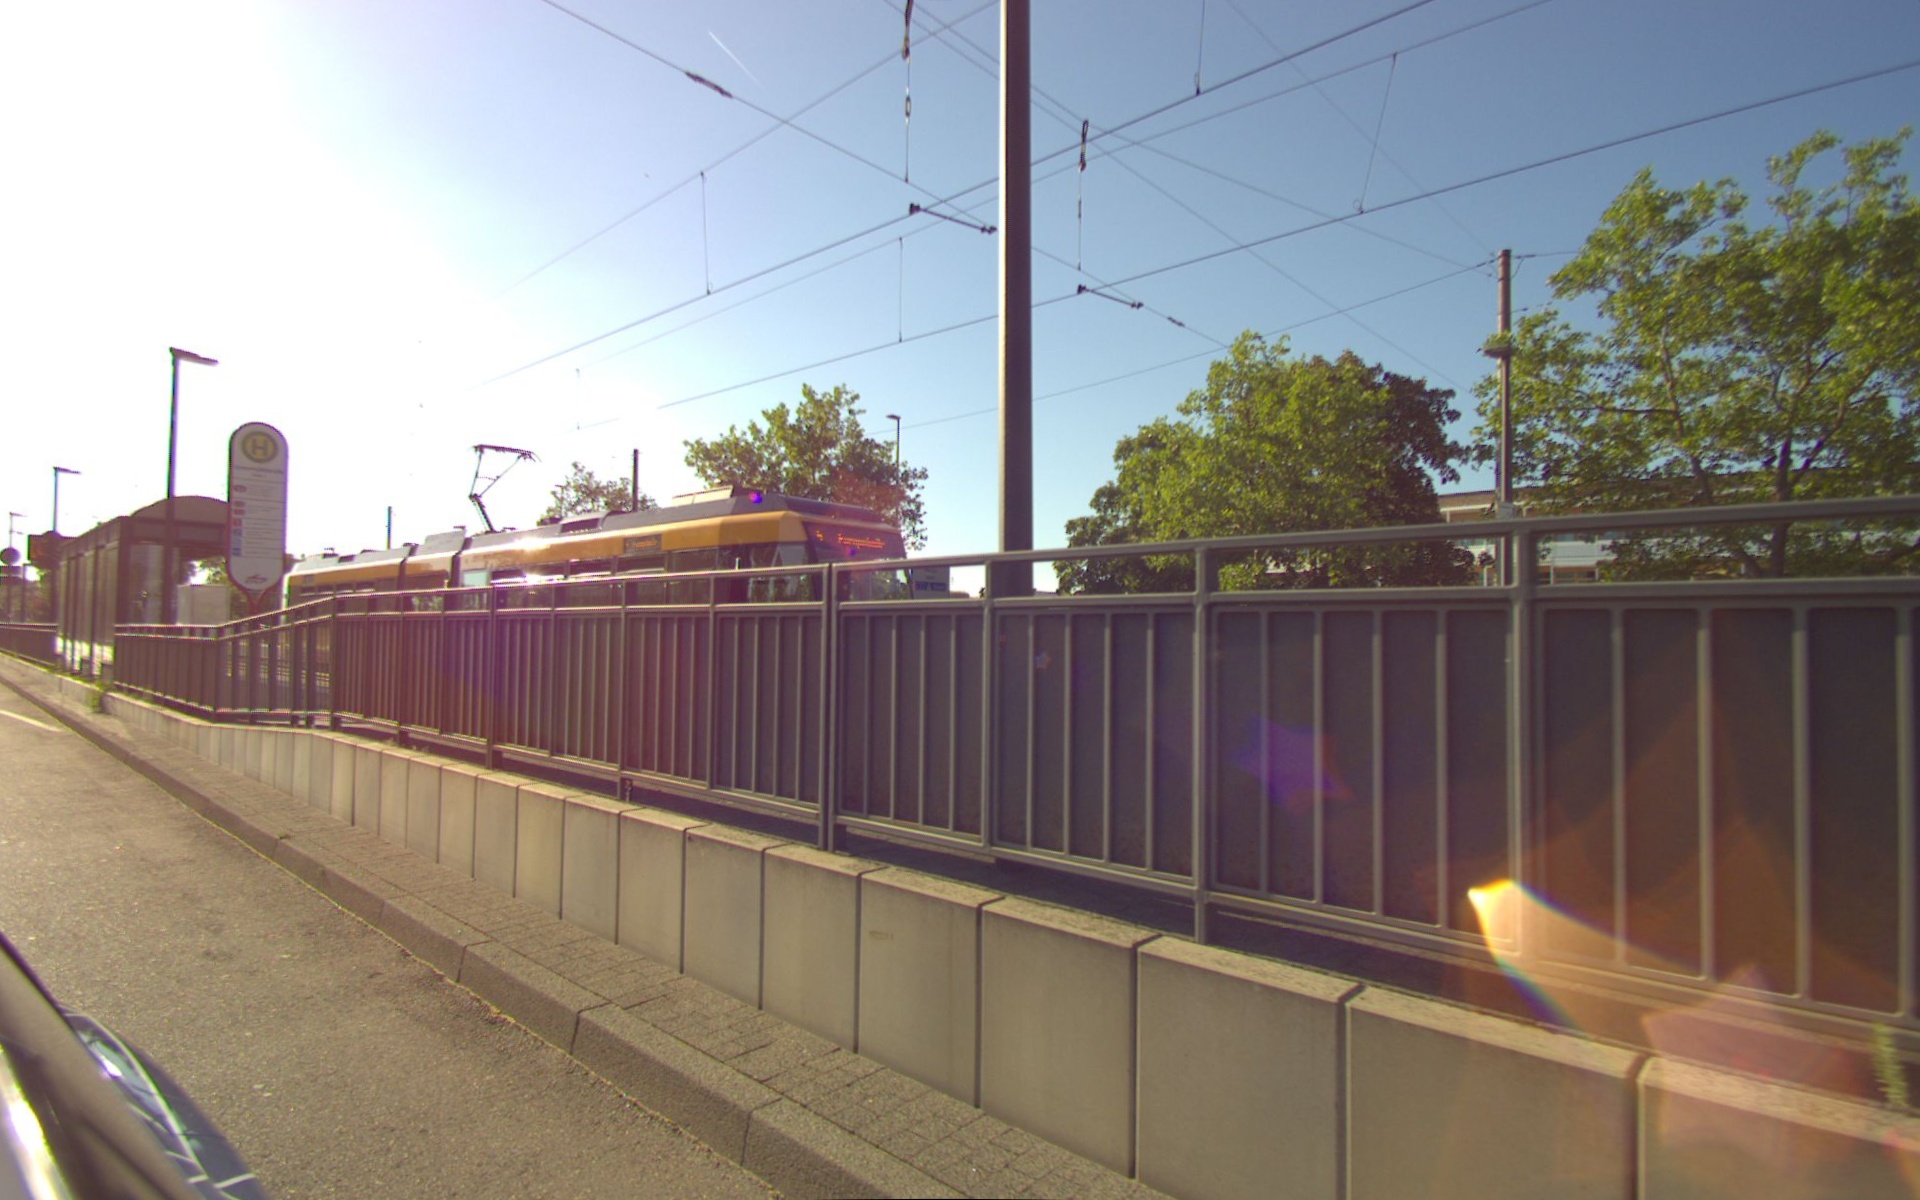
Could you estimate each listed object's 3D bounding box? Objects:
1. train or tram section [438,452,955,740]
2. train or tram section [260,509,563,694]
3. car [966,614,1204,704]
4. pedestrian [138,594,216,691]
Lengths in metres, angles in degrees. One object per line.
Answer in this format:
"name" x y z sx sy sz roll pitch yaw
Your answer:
"train or tram section" -5.711 0.071 18.583 12.971 3.715 2.796 -1 -2 44
"train or tram section" -16.165 0.191 28.590 15.877 4.036 2.796 -1 -2 44
"car" 2.369 1.098 19.893 4.335 1.573 1.972 -1 -2 43
"pedestrian" -12.496 0.673 16.172 0.749 1.505 0.696 0 -2 -14
